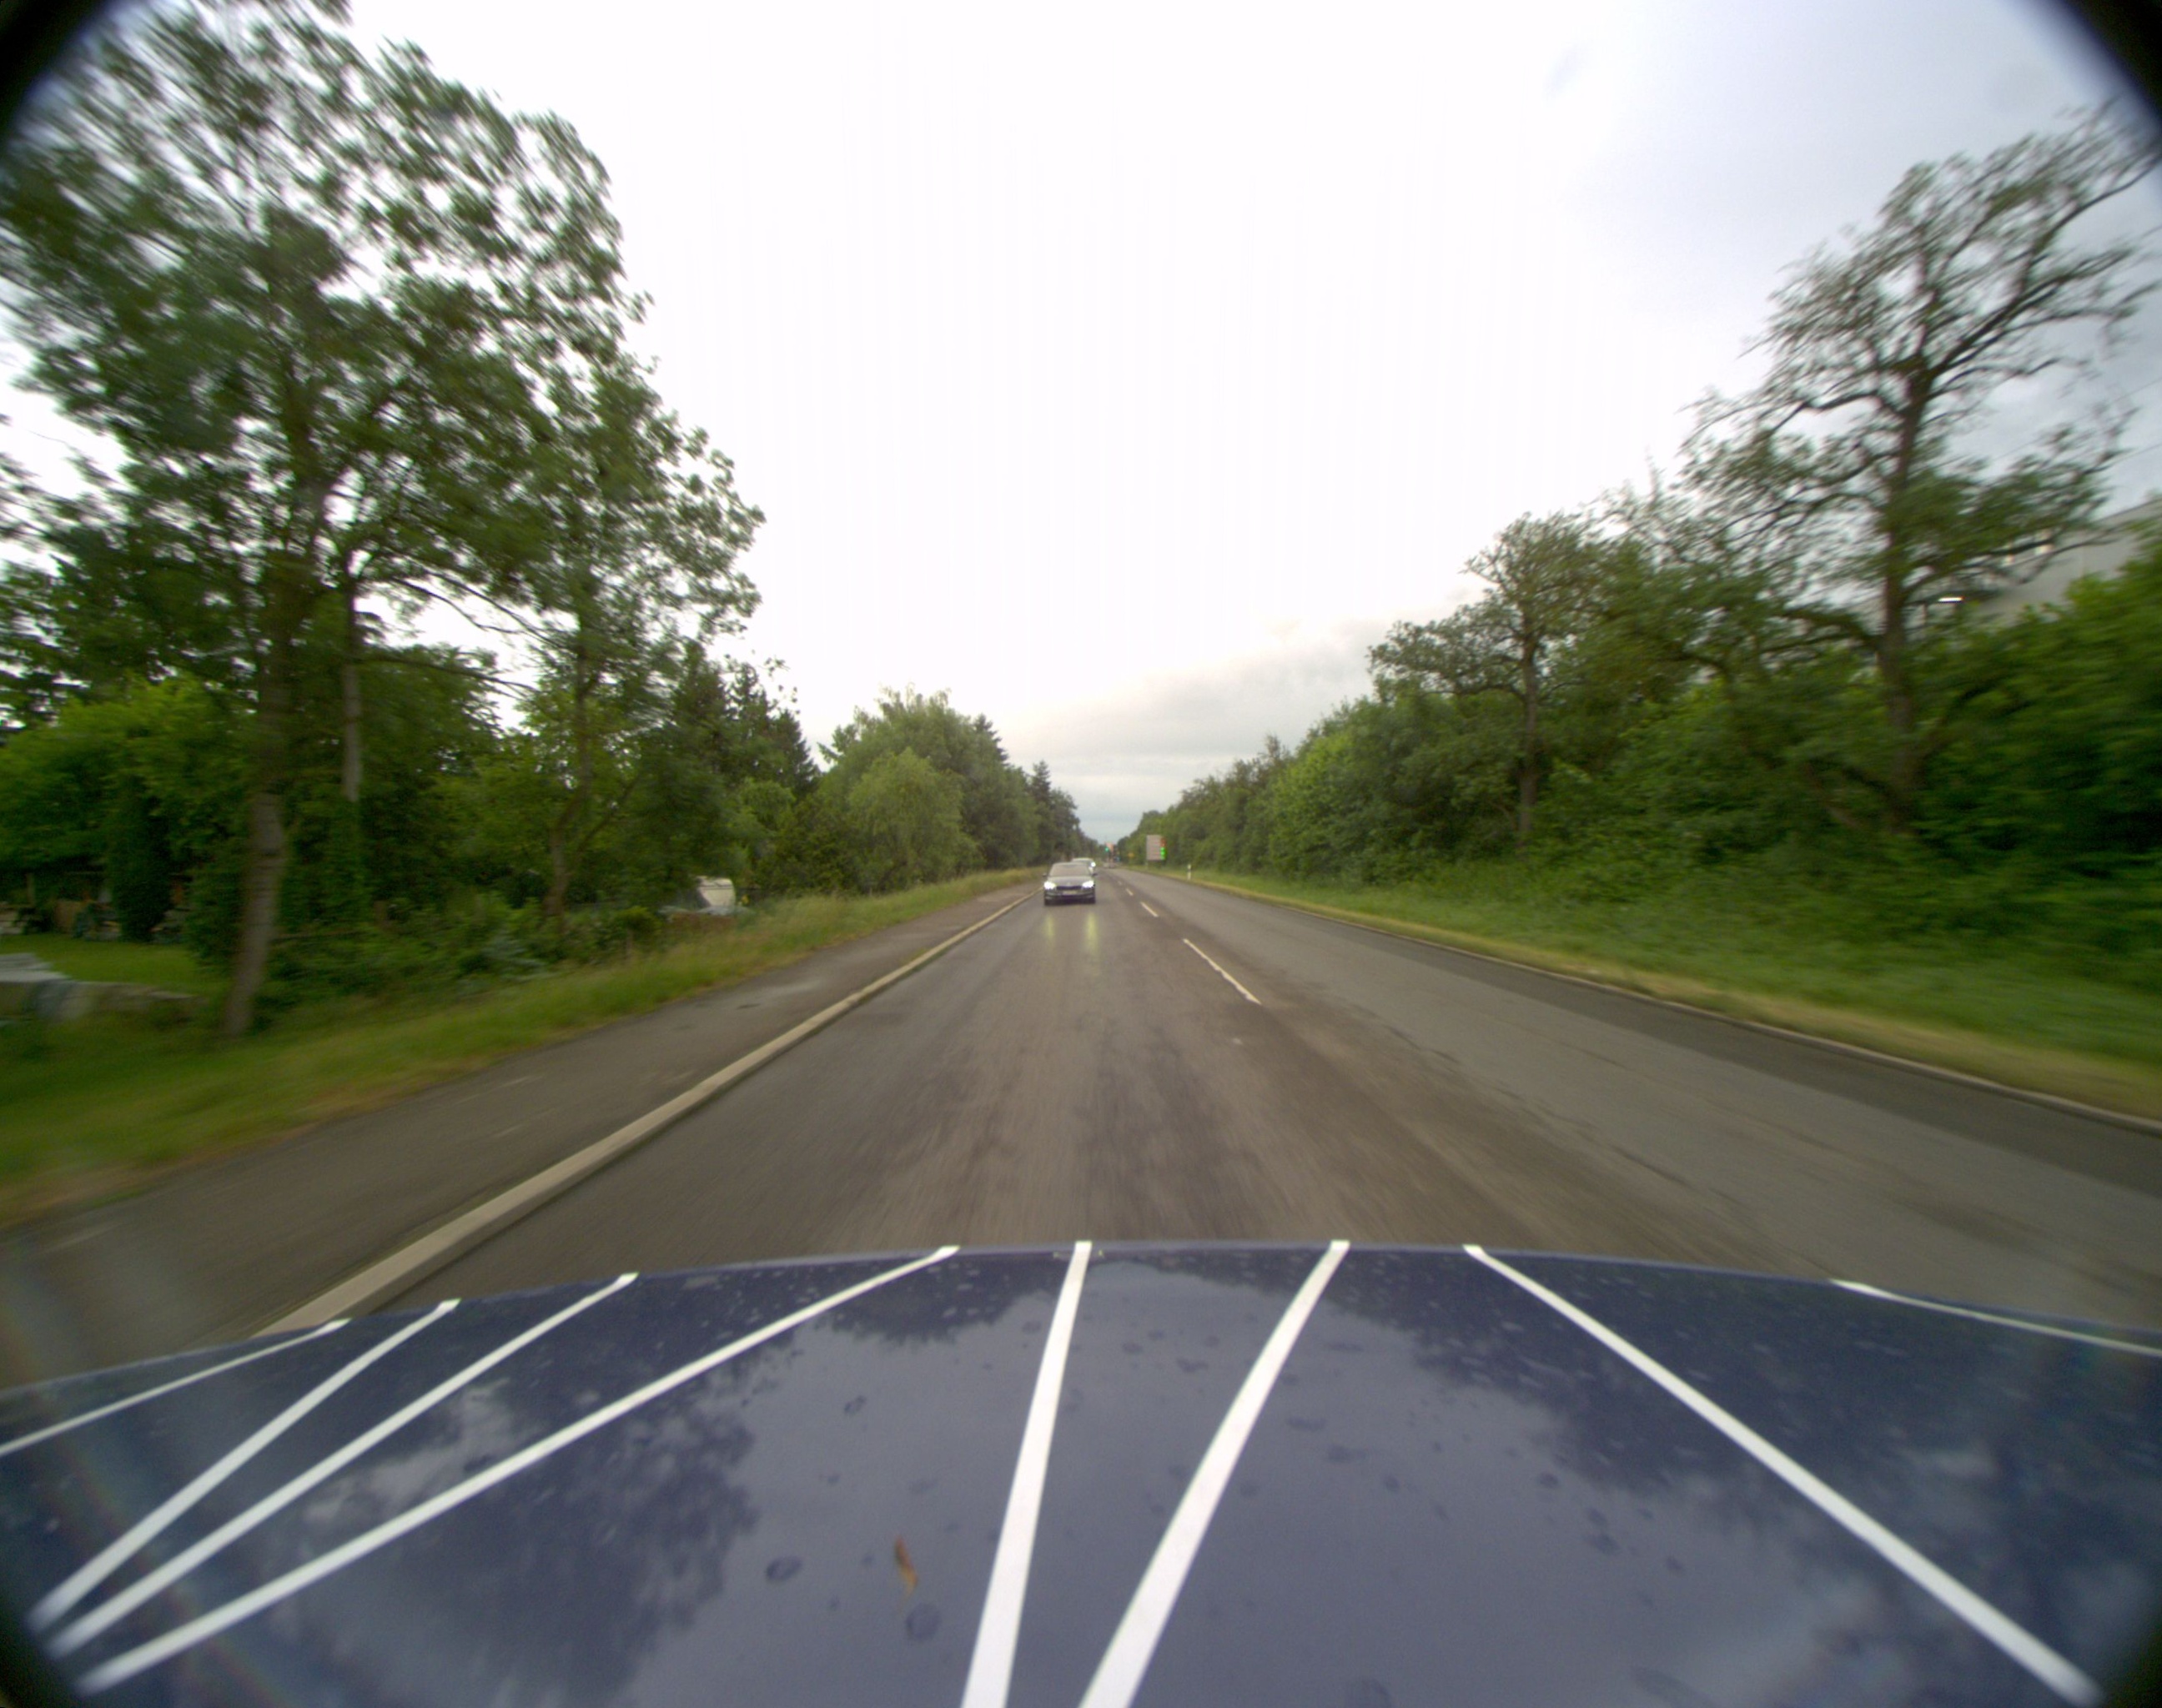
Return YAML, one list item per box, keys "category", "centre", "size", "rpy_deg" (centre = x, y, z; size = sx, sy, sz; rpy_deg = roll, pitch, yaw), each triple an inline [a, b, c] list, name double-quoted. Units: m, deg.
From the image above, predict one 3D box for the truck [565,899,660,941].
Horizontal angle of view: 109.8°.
- category: "truck"
  centre: [-17.170, 2.412, 27.916]
  size: [2.357, 1.389, 1.760]
  rpy_deg: [-1, 0, 13]

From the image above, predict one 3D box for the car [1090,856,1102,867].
- category: "car"
  centre: [2.362, 1.141, 118.988]
  size: [1.856, 1.686, 4.000]
  rpy_deg: [0, 0, 2]

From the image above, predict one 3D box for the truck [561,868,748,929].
- category: "truck"
  centre: [-17.833, 1.869, 31.836]
  size: [7.056, 2.345, 2.068]
  rpy_deg: [-1, 0, 10]

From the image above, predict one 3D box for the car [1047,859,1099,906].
- category: "car"
  centre: [-0.231, 0.989, 27.419]
  size: [1.675, 1.477, 4.215]
  rpy_deg: [-3, -1, 1]

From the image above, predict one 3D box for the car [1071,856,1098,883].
- category: "car"
  centre: [0.243, 0.989, 50.881]
  size: [1.704, 1.723, 4.000]
  rpy_deg: [-1, 0, 0]

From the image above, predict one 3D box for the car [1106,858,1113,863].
- category: "car"
  centre: [7.766, 1.684, 208.405]
  size: [1.896, 1.346, 4.382]
  rpy_deg: [-1, 0, 0]
